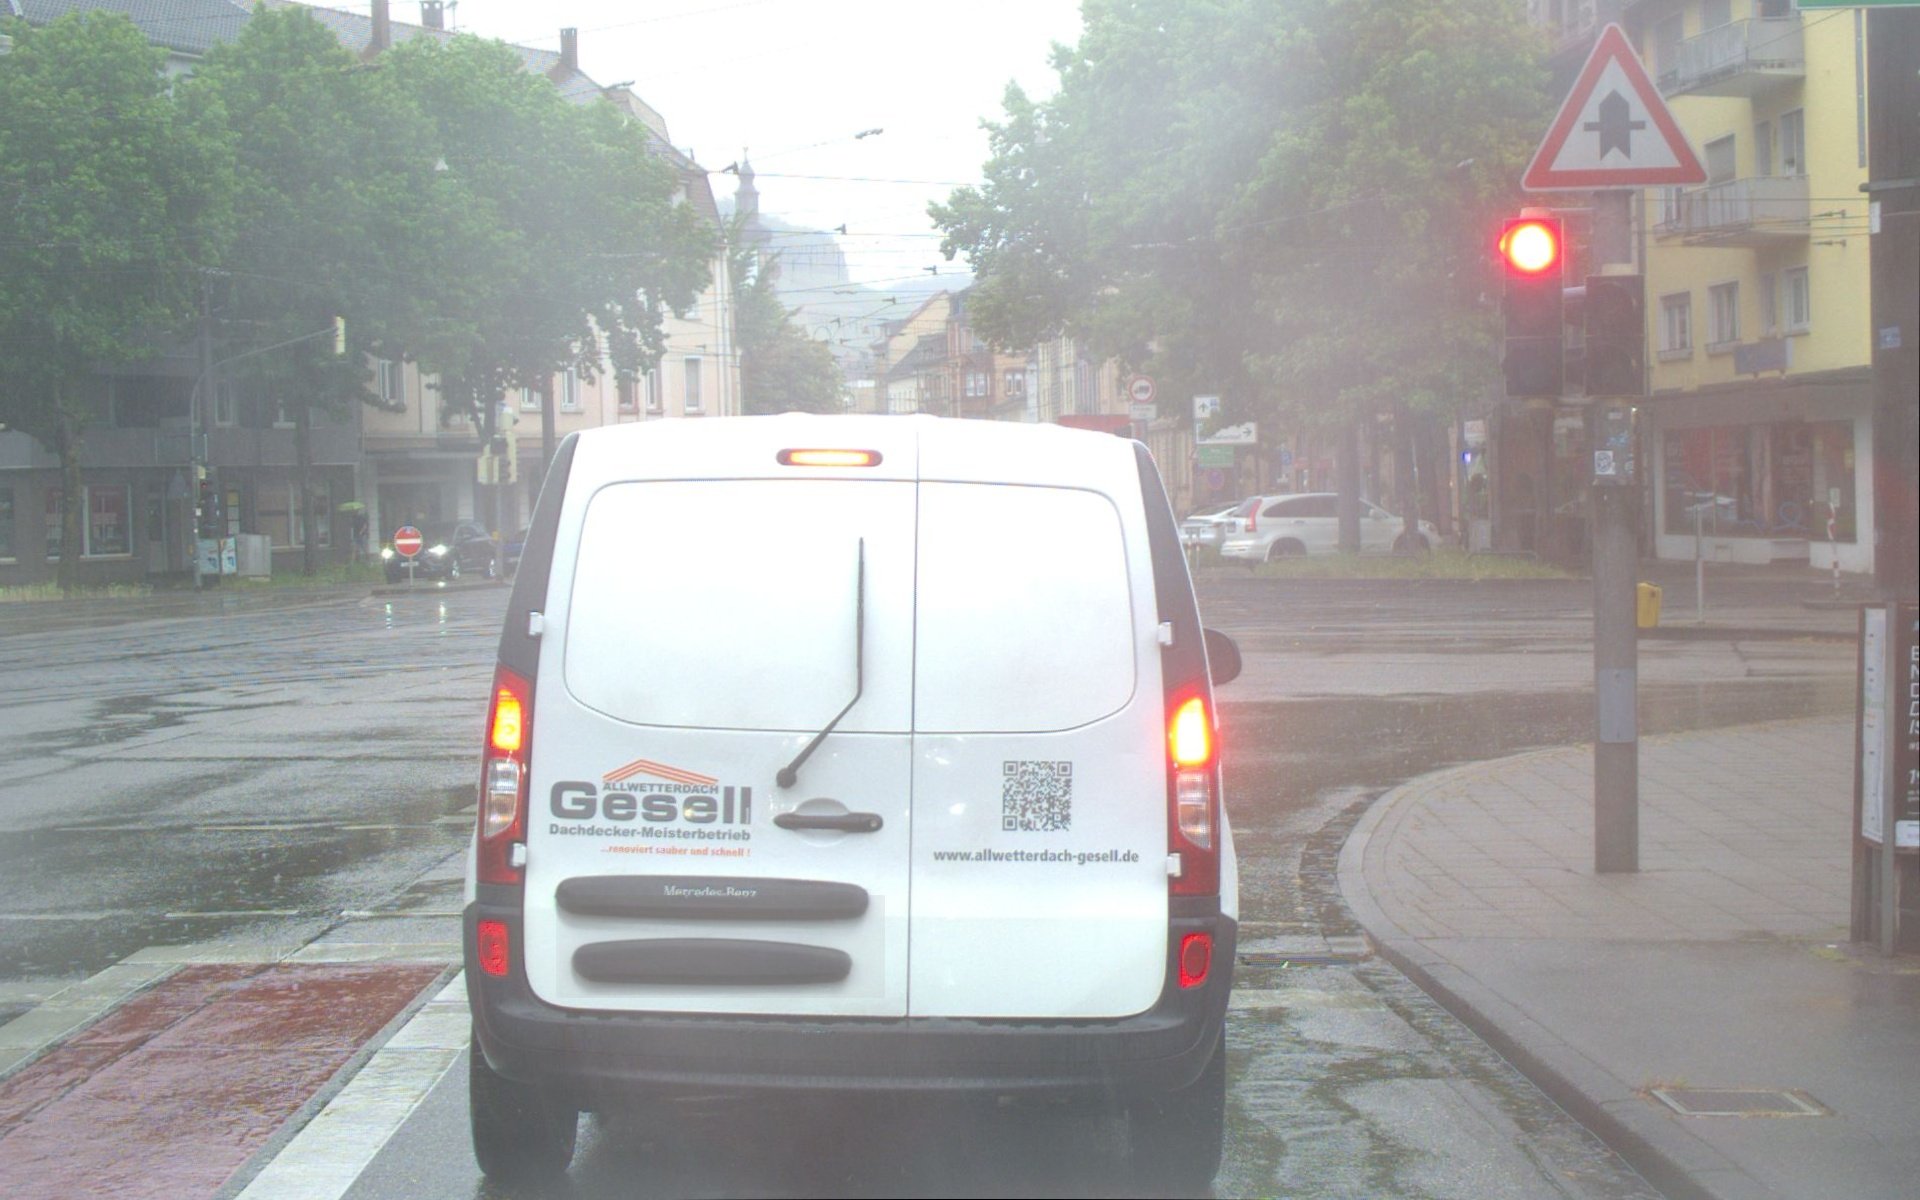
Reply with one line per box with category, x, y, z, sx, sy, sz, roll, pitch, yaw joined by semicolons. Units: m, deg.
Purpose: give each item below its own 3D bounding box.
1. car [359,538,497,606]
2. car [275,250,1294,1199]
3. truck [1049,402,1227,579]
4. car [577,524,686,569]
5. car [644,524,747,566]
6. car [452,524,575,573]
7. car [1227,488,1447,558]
car;-13.614;-0.734;88.232;1.952;1.602;3.997;0;3;16
car;-0.390;0.249;9.630;2.100;2.005;4.963;-1;1;-1
truck;5.669;-3.270;106.032;3.471;5.070;15.300;0;1;11
car;-9.920;-1.640;104.094;1.952;1.235;3.997;0;3;16
car;-8.334;-1.752;108.818;1.952;1.235;3.997;0;3;16
car;-12.396;-1.438;95.674;1.952;1.235;3.997;0;3;16
car;7.611;-1.574;69.493;4.165;1.334;1.521;-1;2;-7
